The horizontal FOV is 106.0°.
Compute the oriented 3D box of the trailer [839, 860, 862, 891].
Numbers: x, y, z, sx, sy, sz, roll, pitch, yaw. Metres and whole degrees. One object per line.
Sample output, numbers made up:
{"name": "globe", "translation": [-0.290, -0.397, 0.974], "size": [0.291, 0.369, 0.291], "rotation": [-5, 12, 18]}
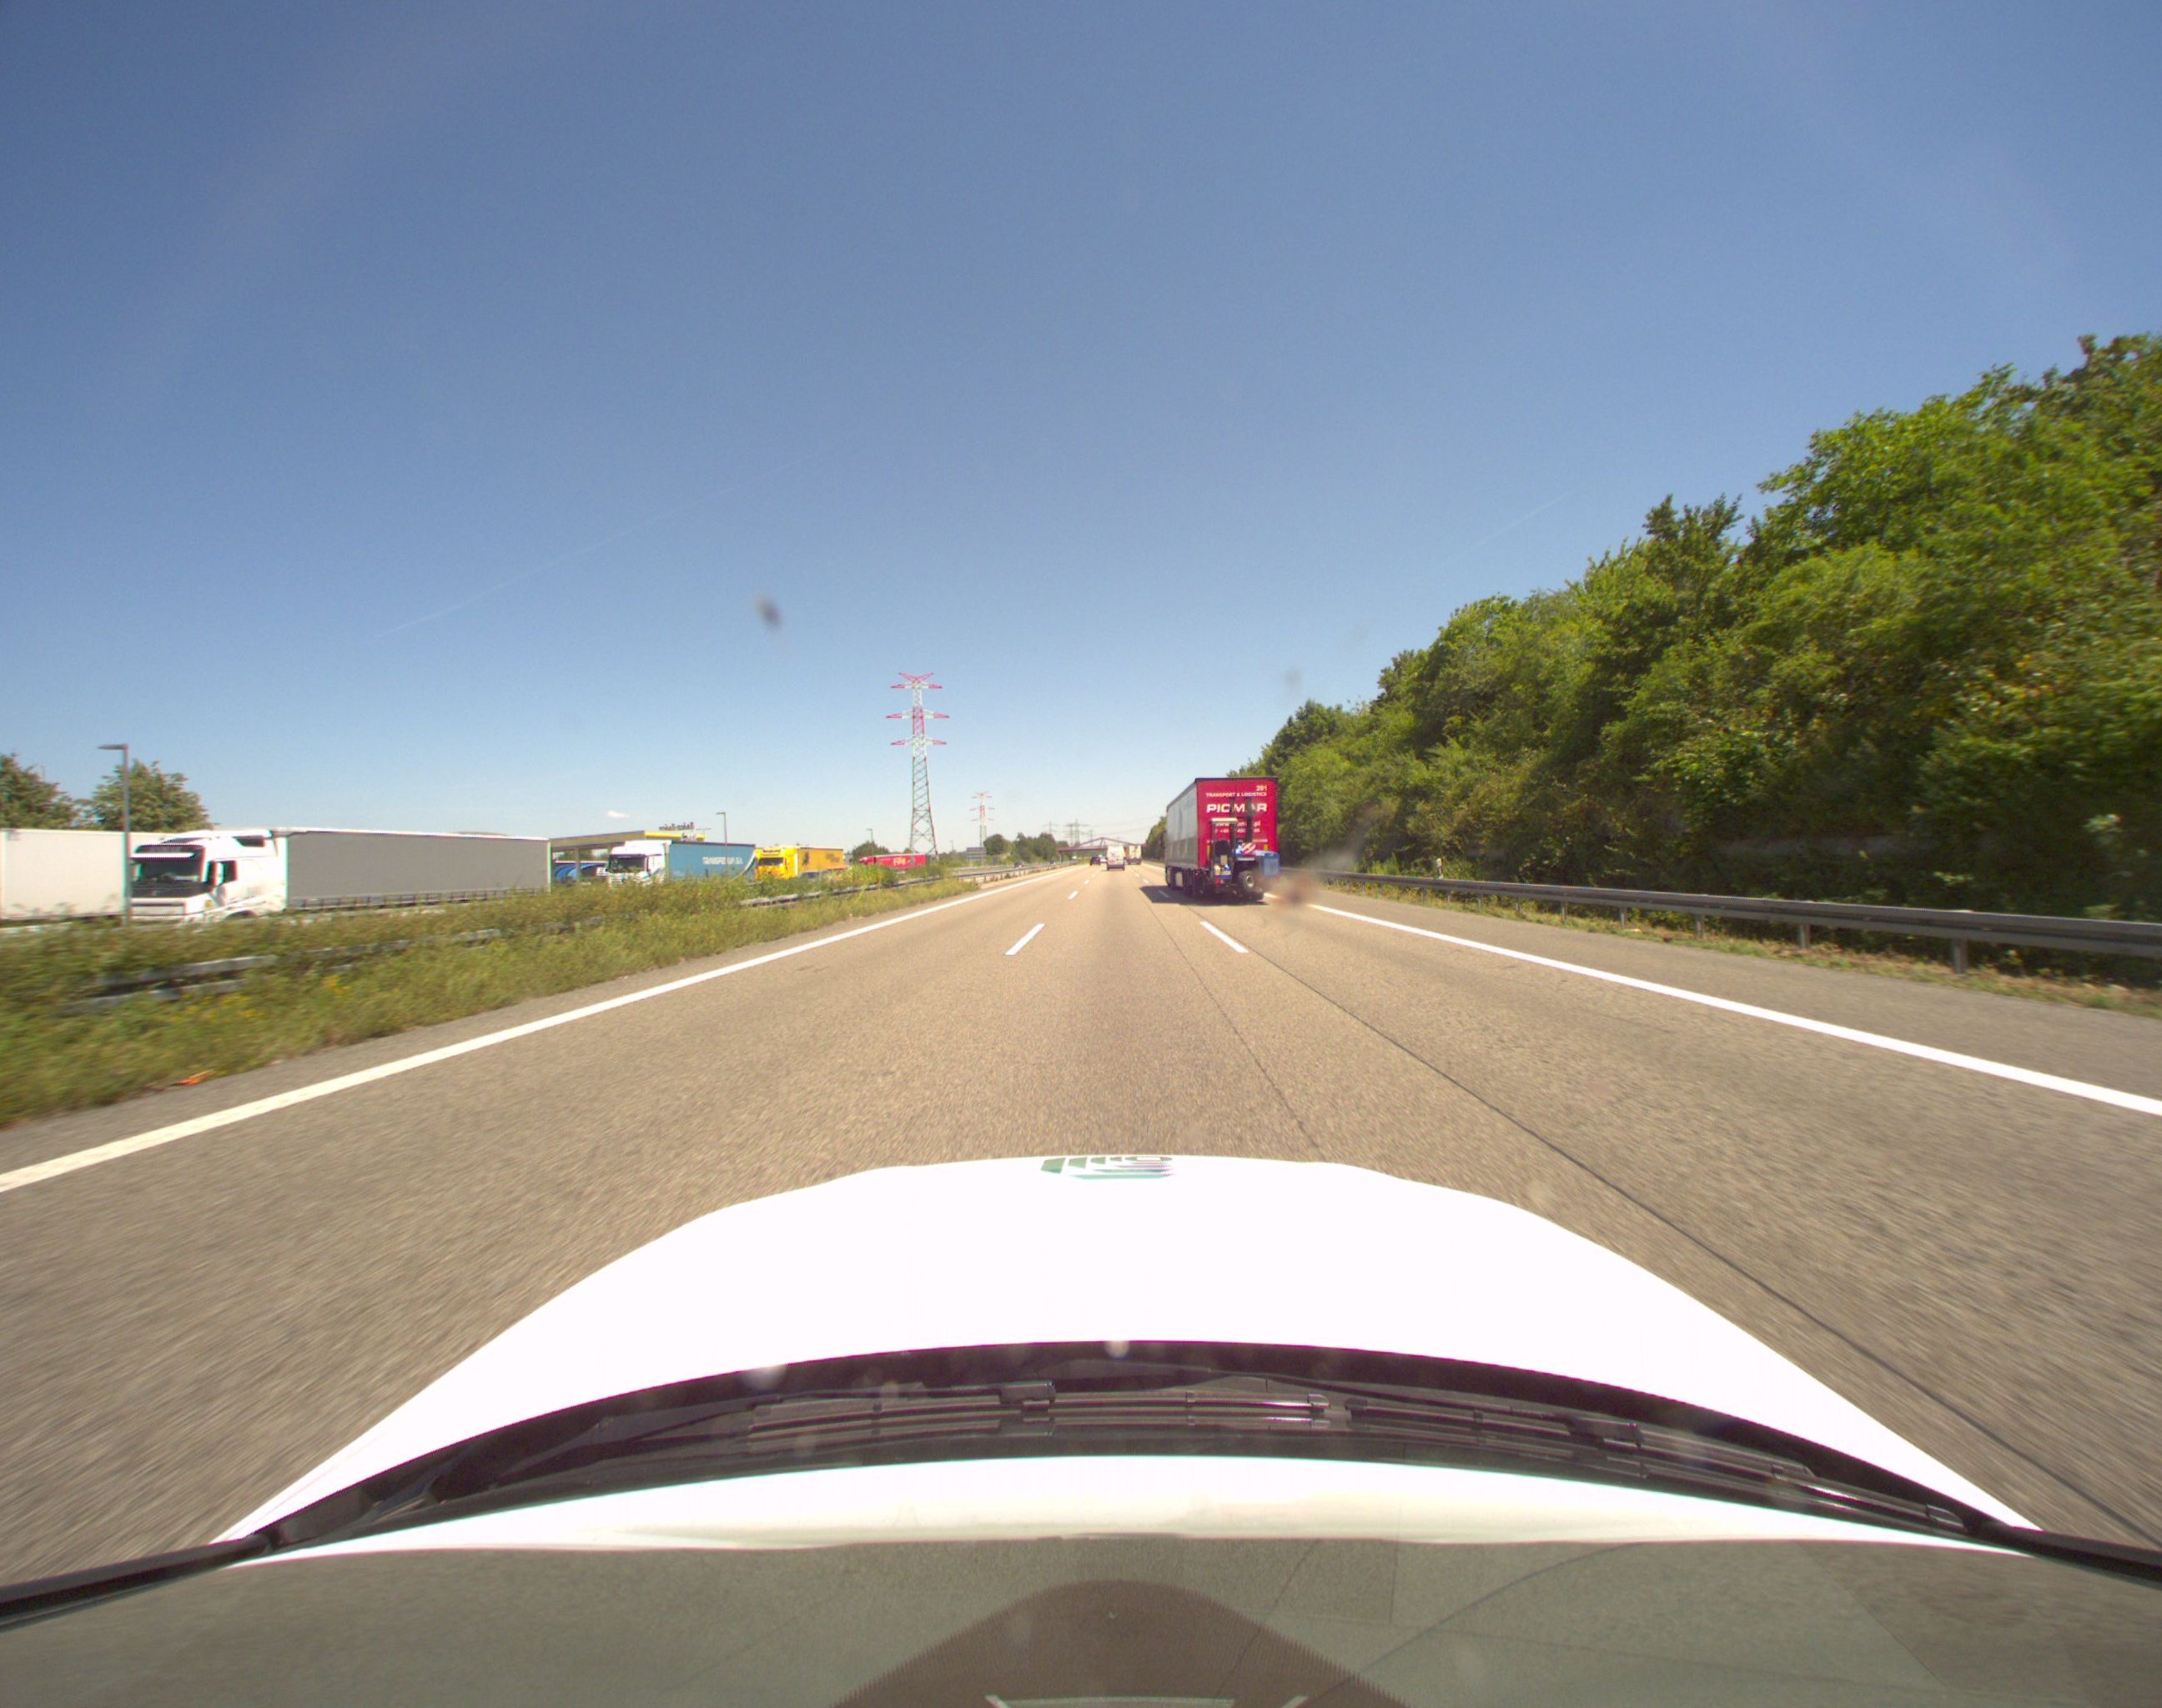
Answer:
{"name": "trailer", "translation": [-18.559, 1.705, 65.544], "size": [1.163, 2.369, 1.999], "rotation": [-2, 0, 2]}

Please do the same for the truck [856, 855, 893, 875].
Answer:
{"name": "truck", "translation": [-41.956, 2.171, 165.566], "size": [3.087, 4.049, 6.687], "rotation": [0, -1, 36]}

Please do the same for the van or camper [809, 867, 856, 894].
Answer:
{"name": "van or camper", "translation": [-18.594, 1.958, 61.133], "size": [1.889, 1.839, 4.748], "rotation": [-2, 0, 2]}

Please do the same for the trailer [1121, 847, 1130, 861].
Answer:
{"name": "trailer", "translation": [12.692, 0.117, 230.899], "size": [2.626, 3.897, 7.074], "rotation": [0, 0, 3]}

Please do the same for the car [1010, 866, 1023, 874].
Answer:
{"name": "car", "translation": [-11.520, 2.839, 145.692], "size": [1.735, 1.276, 4.320], "rotation": [-5, -1, 2]}

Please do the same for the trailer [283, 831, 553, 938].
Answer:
{"name": "trailer", "translation": [-29.258, 1.206, 37.079], "size": [3.102, 4.158, 11.016], "rotation": [0, 0, 1]}

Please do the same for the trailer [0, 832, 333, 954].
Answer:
{"name": "trailer", "translation": [-34.778, 1.312, 31.582], "size": [2.685, 4.006, 9.311], "rotation": [0, 0, 2]}

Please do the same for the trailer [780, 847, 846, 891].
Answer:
{"name": "trailer", "translation": [-27.307, 1.438, 83.667], "size": [2.823, 4.220, 11.085], "rotation": [0, 0, 1]}

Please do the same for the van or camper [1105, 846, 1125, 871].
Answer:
{"name": "van or camper", "translation": [3.868, 0.509, 93.147], "size": [2.221, 2.782, 5.426], "rotation": [0, 0, 2]}

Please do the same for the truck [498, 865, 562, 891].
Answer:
{"name": "truck", "translation": [-79.583, 3.437, 117.749], "size": [2.945, 3.490, 7.115], "rotation": [0, 0, 31]}

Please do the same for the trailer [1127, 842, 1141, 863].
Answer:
{"name": "trailer", "translation": [10.725, -0.194, 166.030], "size": [2.626, 4.060, 12.376], "rotation": [0, 0, 3]}

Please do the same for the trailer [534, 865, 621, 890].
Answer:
{"name": "trailer", "translation": [-76.078, 3.458, 123.414], "size": [2.964, 3.521, 11.133], "rotation": [0, 0, 32]}

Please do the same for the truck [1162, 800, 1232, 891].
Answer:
{"name": "truck", "translation": [5.380, -0.340, 38.885], "size": [2.489, 3.920, 7.100], "rotation": [-1, 0, 2]}

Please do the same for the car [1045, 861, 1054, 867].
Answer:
{"name": "car", "translation": [-8.034, 2.488, 207.091], "size": [1.964, 1.647, 5.018], "rotation": [0, 0, 2]}

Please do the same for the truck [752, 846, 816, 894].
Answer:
{"name": "truck", "translation": [-27.499, 1.408, 75.729], "size": [2.823, 4.200, 7.920], "rotation": [0, 0, 1]}

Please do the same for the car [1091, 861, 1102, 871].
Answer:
{"name": "car", "translation": [2.939, 2.224, 154.763], "size": [1.973, 1.817, 3.817], "rotation": [0, 0, 4]}

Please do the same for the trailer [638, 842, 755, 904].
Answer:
{"name": "trailer", "translation": [-28.419, 1.313, 61.111], "size": [2.823, 4.148, 12.086], "rotation": [0, 0, 1]}

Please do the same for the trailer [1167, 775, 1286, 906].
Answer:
{"name": "trailer", "translation": [5.124, -0.360, 31.594], "size": [2.481, 3.909, 14.252], "rotation": [-1, 0, 2]}

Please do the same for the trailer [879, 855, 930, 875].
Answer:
{"name": "trailer", "translation": [-37.225, 2.198, 171.983], "size": [3.090, 4.055, 11.385], "rotation": [0, -1, 36]}

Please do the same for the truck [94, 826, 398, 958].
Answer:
{"name": "truck", "translation": [-29.357, 1.217, 29.325], "size": [3.106, 4.158, 7.505], "rotation": [0, 0, 1]}

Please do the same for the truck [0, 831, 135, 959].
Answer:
{"name": "truck", "translation": [-34.970, 1.282, 25.983], "size": [2.685, 4.006, 5.746], "rotation": [0, 0, 2]}

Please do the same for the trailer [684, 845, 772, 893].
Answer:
{"name": "trailer", "translation": [-32.638, 1.310, 76.003], "size": [2.821, 4.148, 11.092], "rotation": [0, 0, 3]}

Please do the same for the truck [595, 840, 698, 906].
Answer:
{"name": "truck", "translation": [-28.592, 1.219, 53.993], "size": [2.839, 4.073, 7.091], "rotation": [0, 0, 1]}
